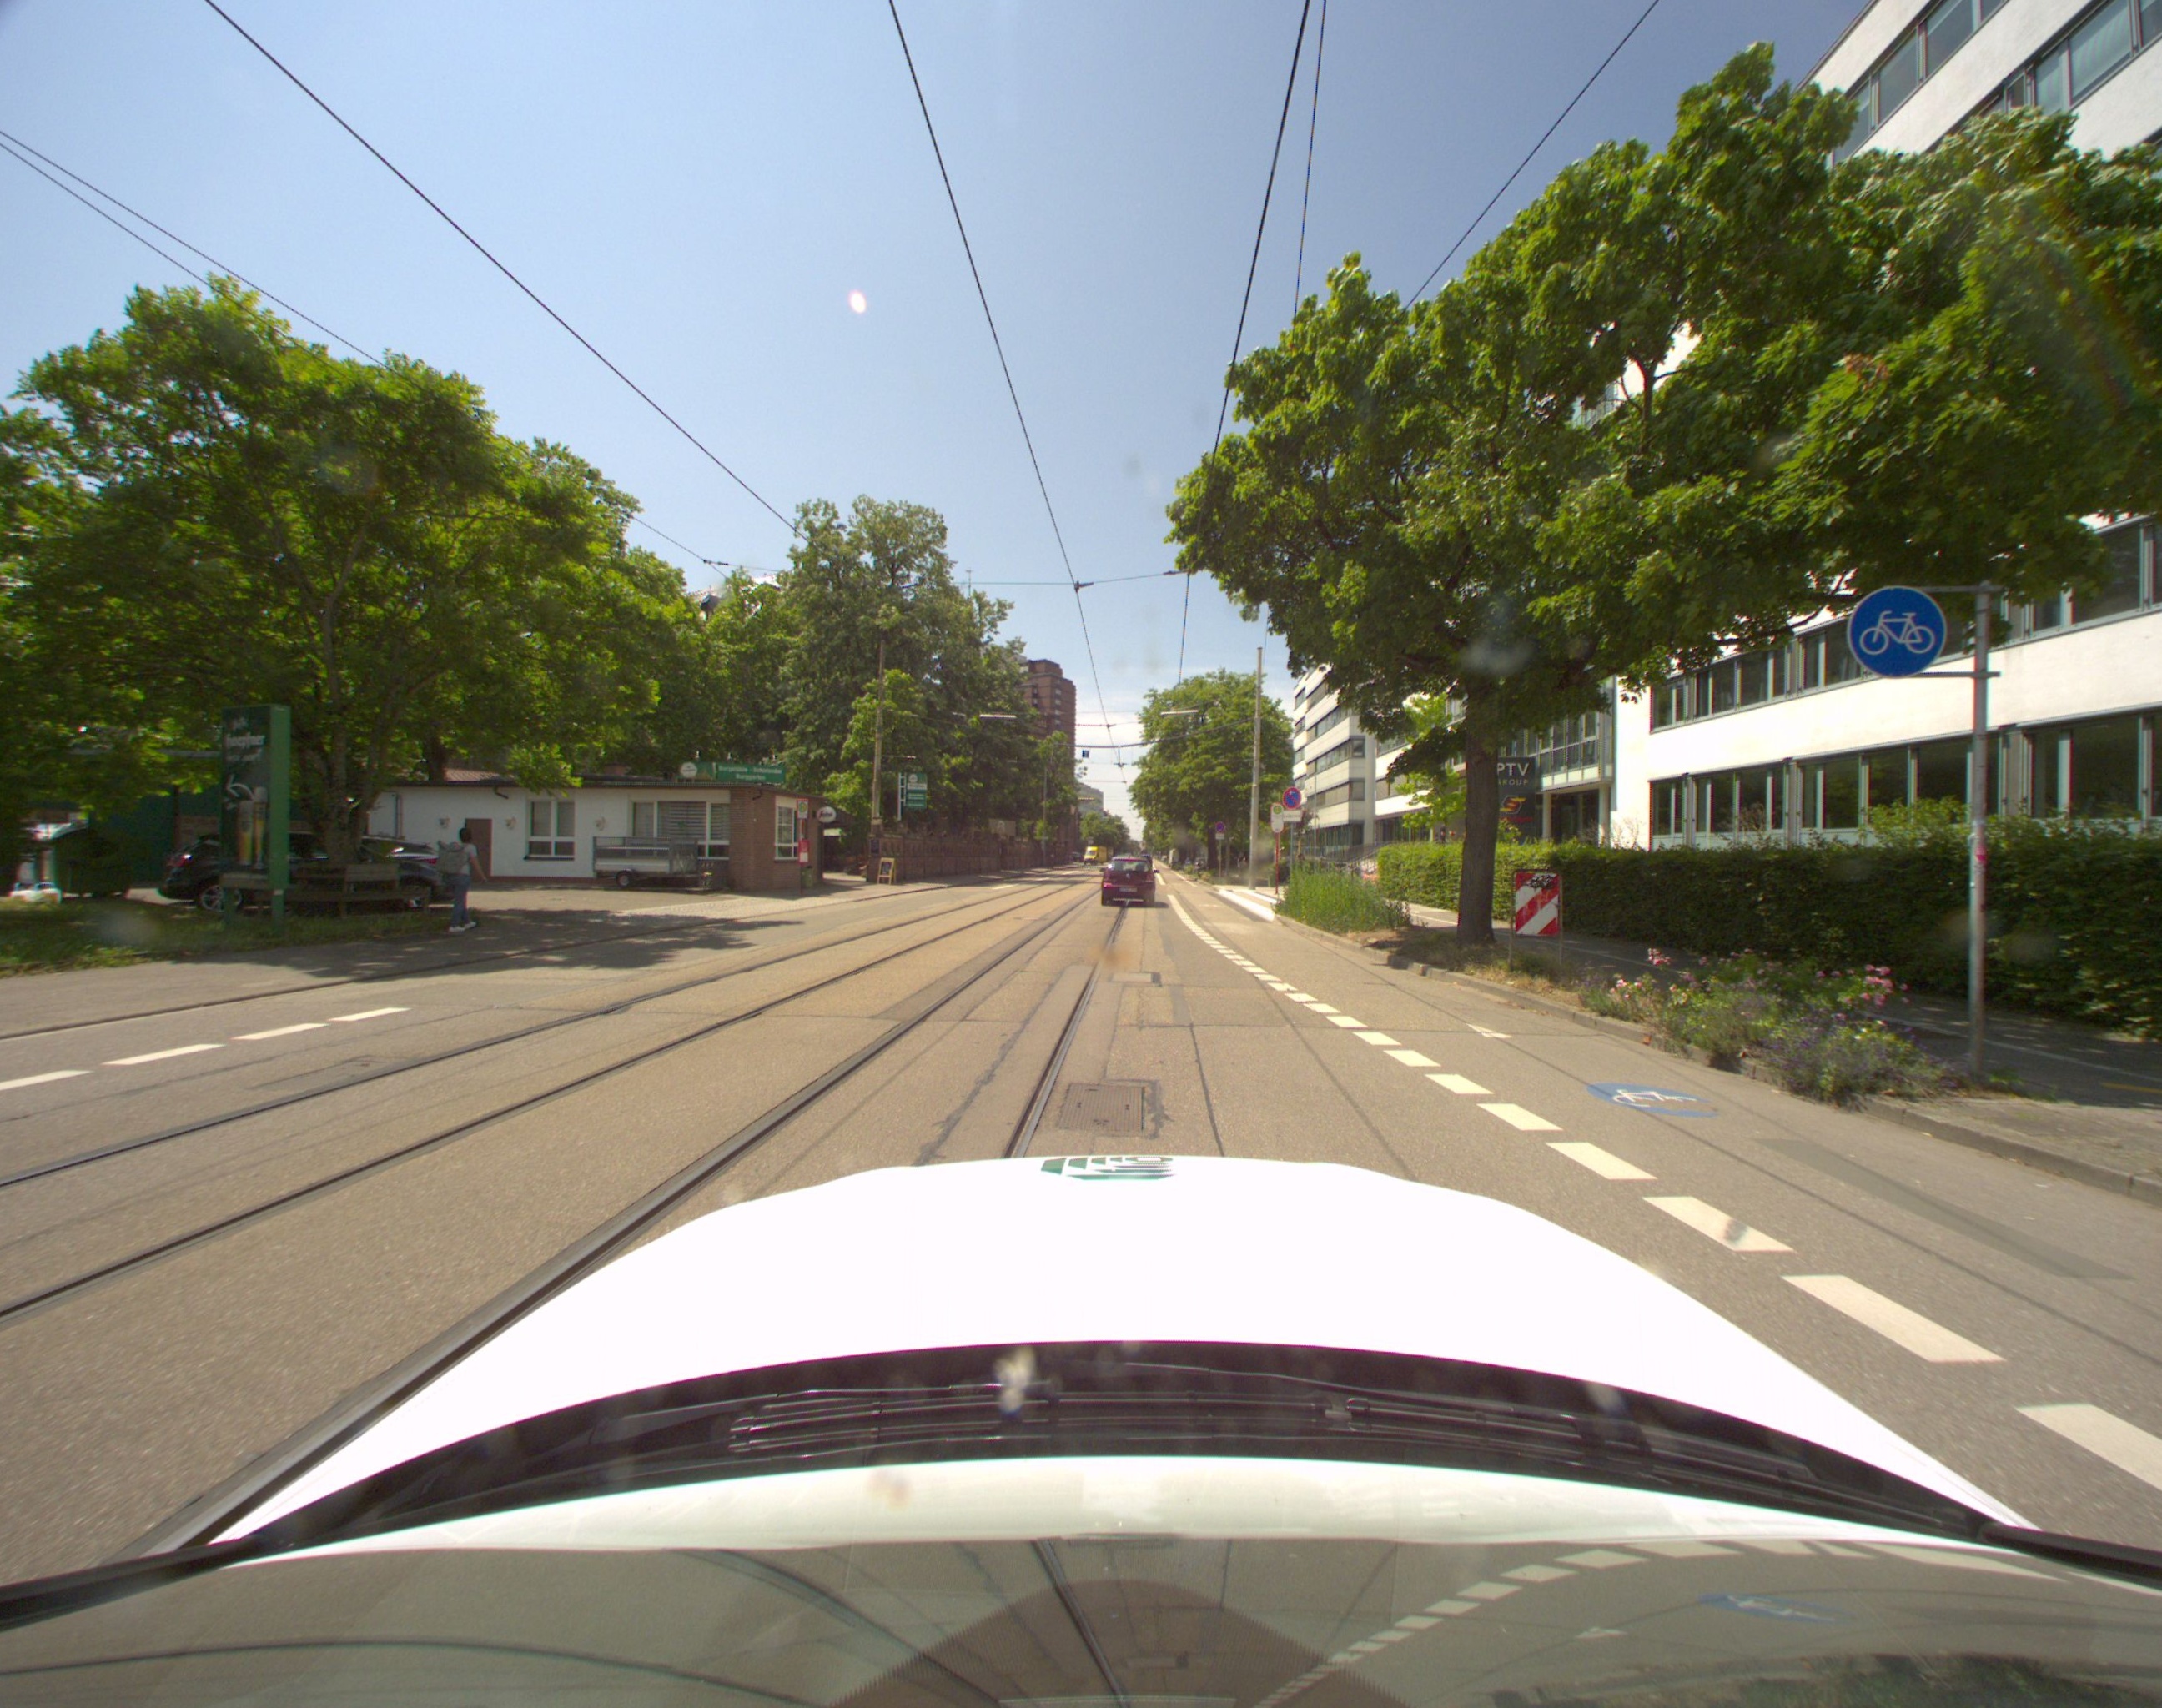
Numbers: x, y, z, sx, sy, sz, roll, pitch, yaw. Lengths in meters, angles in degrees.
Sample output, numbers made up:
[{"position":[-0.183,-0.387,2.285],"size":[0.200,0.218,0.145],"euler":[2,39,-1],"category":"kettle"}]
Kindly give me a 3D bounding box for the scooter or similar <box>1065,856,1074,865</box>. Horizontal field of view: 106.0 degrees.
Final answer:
[{"position":[-1.638,0.839,111.679],"size":[1.091,1.155,0.524],"euler":[2,0,-17],"category":"scooter or similar"}]

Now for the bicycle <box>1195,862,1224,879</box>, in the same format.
[{"position":[8.674,1.103,54.972],"size":[1.875,1.182,0.695],"euler":[0,-1,4],"category":"bicycle"}]

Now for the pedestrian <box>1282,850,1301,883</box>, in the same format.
[{"position":[11.579,0.706,44.775],"size":[0.681,1.796,0.669],"euler":[0,-1,-27],"category":"pedestrian"}]

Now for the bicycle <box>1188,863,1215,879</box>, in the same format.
[{"position":[8.298,1.168,56.083],"size":[1.815,1.085,0.720],"euler":[1,-1,7],"category":"bicycle"}]

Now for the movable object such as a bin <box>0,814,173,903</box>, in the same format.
[{"position":[-18.571,0.062,15.019],"size":[1.507,1.509,2.112],"euler":[2,0,29],"category":"movable object such as a bin"}]

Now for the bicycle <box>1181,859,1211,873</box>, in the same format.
[{"position":[12.099,1.273,86.048],"size":[3.057,1.313,0.782],"euler":[2,0,2],"category":"bicycle"}]

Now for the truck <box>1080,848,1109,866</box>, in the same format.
[{"position":[2.303,0.447,133.311],"size":[2.350,2.787,7.356],"euler":[1,0,20],"category":"truck"}]

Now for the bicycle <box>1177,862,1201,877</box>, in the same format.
[{"position":[8.103,1.193,61.079],"size":[1.743,1.085,0.549],"euler":[1,0,4],"category":"bicycle"}]

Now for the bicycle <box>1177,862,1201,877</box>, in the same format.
[{"position":[8.159,1.182,61.726],"size":[1.743,1.085,0.549],"euler":[1,0,4],"category":"bicycle"}]

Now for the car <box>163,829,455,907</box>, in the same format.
[{"position":[-16.809,0.310,18.032],"size":[4.476,1.488,1.912],"euler":[2,0,-44],"category":"car"}]

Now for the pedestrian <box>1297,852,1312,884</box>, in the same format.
[{"position":[12.144,0.737,44.285],"size":[0.539,1.715,0.561],"euler":[0,-1,-25],"category":"pedestrian"}]

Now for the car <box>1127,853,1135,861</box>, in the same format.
[{"position":[12.853,0.776,210.434],"size":[1.984,1.854,4.688],"euler":[1,0,4],"category":"car"}]

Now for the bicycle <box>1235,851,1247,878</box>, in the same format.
[{"position":[11.097,0.725,56.594],"size":[0.686,1.785,1.814],"euler":[-1,-1,8],"category":"bicycle"}]

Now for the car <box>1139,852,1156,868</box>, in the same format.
[{"position":[8.795,0.814,108.189],"size":[1.985,2.013,4.003],"euler":[2,0,2],"category":"car"}]

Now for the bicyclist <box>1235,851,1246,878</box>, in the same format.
[{"position":[11.089,0.729,56.565],"size":[0.692,1.799,0.889],"euler":[-1,-1,8],"category":"bicyclist"}]

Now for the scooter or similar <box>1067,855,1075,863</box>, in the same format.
[{"position":[-1.386,0.683,114.256],"size":[1.091,1.155,0.524],"euler":[2,0,-17],"category":"scooter or similar"}]

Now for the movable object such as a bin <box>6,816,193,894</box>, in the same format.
[{"position":[-19.601,0.014,16.315],"size":[1.507,1.432,2.112],"euler":[2,0,29],"category":"movable object such as a bin"}]

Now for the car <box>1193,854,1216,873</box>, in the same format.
[{"position":[10.138,0.761,67.034],"size":[1.681,1.503,3.632],"euler":[-1,0,4],"category":"car"}]

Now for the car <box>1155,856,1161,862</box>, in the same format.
[{"position":[23.733,1.542,250.452],"size":[1.667,1.656,4.005],"euler":[2,0,4],"category":"car"}]

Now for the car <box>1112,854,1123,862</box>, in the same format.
[{"position":[6.459,0.695,143.209],"size":[1.762,1.516,4.005],"euler":[1,0,5],"category":"car"}]

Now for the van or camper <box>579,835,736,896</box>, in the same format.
[{"position":[-12.860,0.314,24.887],"size":[3.767,1.629,1.874],"euler":[2,1,4],"category":"van or camper"}]

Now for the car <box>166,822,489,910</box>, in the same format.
[{"position":[-14.683,0.232,16.149],"size":[1.911,1.488,4.477],"euler":[2,0,44],"category":"car"}]

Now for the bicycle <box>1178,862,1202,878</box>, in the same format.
[{"position":[8.045,1.183,60.181],"size":[1.743,1.085,0.549],"euler":[1,0,4],"category":"bicycle"}]

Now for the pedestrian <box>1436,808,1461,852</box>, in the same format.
[{"position":[14.846,-0.961,32.912],"size":[0.866,1.715,1.096],"euler":[-1,-1,24],"category":"pedestrian"}]

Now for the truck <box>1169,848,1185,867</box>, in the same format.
[{"position":[13.696,0.512,116.531],"size":[1.984,2.661,4.881],"euler":[2,0,4],"category":"truck"}]

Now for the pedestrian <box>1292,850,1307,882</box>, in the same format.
[{"position":[11.774,0.646,43.896],"size":[0.539,1.715,0.561],"euler":[0,-1,-25],"category":"pedestrian"}]

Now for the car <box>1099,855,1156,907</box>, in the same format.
[{"position":[1.493,0.772,25.500],"size":[1.612,1.486,4.004],"euler":[1,0,4],"category":"car"}]

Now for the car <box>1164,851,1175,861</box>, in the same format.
[{"position":[16.117,0.326,148.540],"size":[1.667,1.656,4.005],"euler":[2,0,4],"category":"car"}]

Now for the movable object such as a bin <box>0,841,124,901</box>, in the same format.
[{"position":[-21.346,0.329,16.951],"size":[1.391,1.138,1.574],"euler":[2,0,29],"category":"movable object such as a bin"}]

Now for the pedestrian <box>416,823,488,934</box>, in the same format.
[{"position":[-10.387,0.396,13.466],"size":[0.578,1.775,0.700],"euler":[2,0,1],"category":"pedestrian"}]

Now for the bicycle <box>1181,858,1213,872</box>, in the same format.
[{"position":[12.449,1.193,87.485],"size":[3.354,1.313,0.782],"euler":[2,0,2],"category":"bicycle"}]

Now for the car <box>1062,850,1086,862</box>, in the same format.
[{"position":[-1.221,0.379,141.296],"size":[3.964,2.013,2.005],"euler":[1,0,8],"category":"car"}]
